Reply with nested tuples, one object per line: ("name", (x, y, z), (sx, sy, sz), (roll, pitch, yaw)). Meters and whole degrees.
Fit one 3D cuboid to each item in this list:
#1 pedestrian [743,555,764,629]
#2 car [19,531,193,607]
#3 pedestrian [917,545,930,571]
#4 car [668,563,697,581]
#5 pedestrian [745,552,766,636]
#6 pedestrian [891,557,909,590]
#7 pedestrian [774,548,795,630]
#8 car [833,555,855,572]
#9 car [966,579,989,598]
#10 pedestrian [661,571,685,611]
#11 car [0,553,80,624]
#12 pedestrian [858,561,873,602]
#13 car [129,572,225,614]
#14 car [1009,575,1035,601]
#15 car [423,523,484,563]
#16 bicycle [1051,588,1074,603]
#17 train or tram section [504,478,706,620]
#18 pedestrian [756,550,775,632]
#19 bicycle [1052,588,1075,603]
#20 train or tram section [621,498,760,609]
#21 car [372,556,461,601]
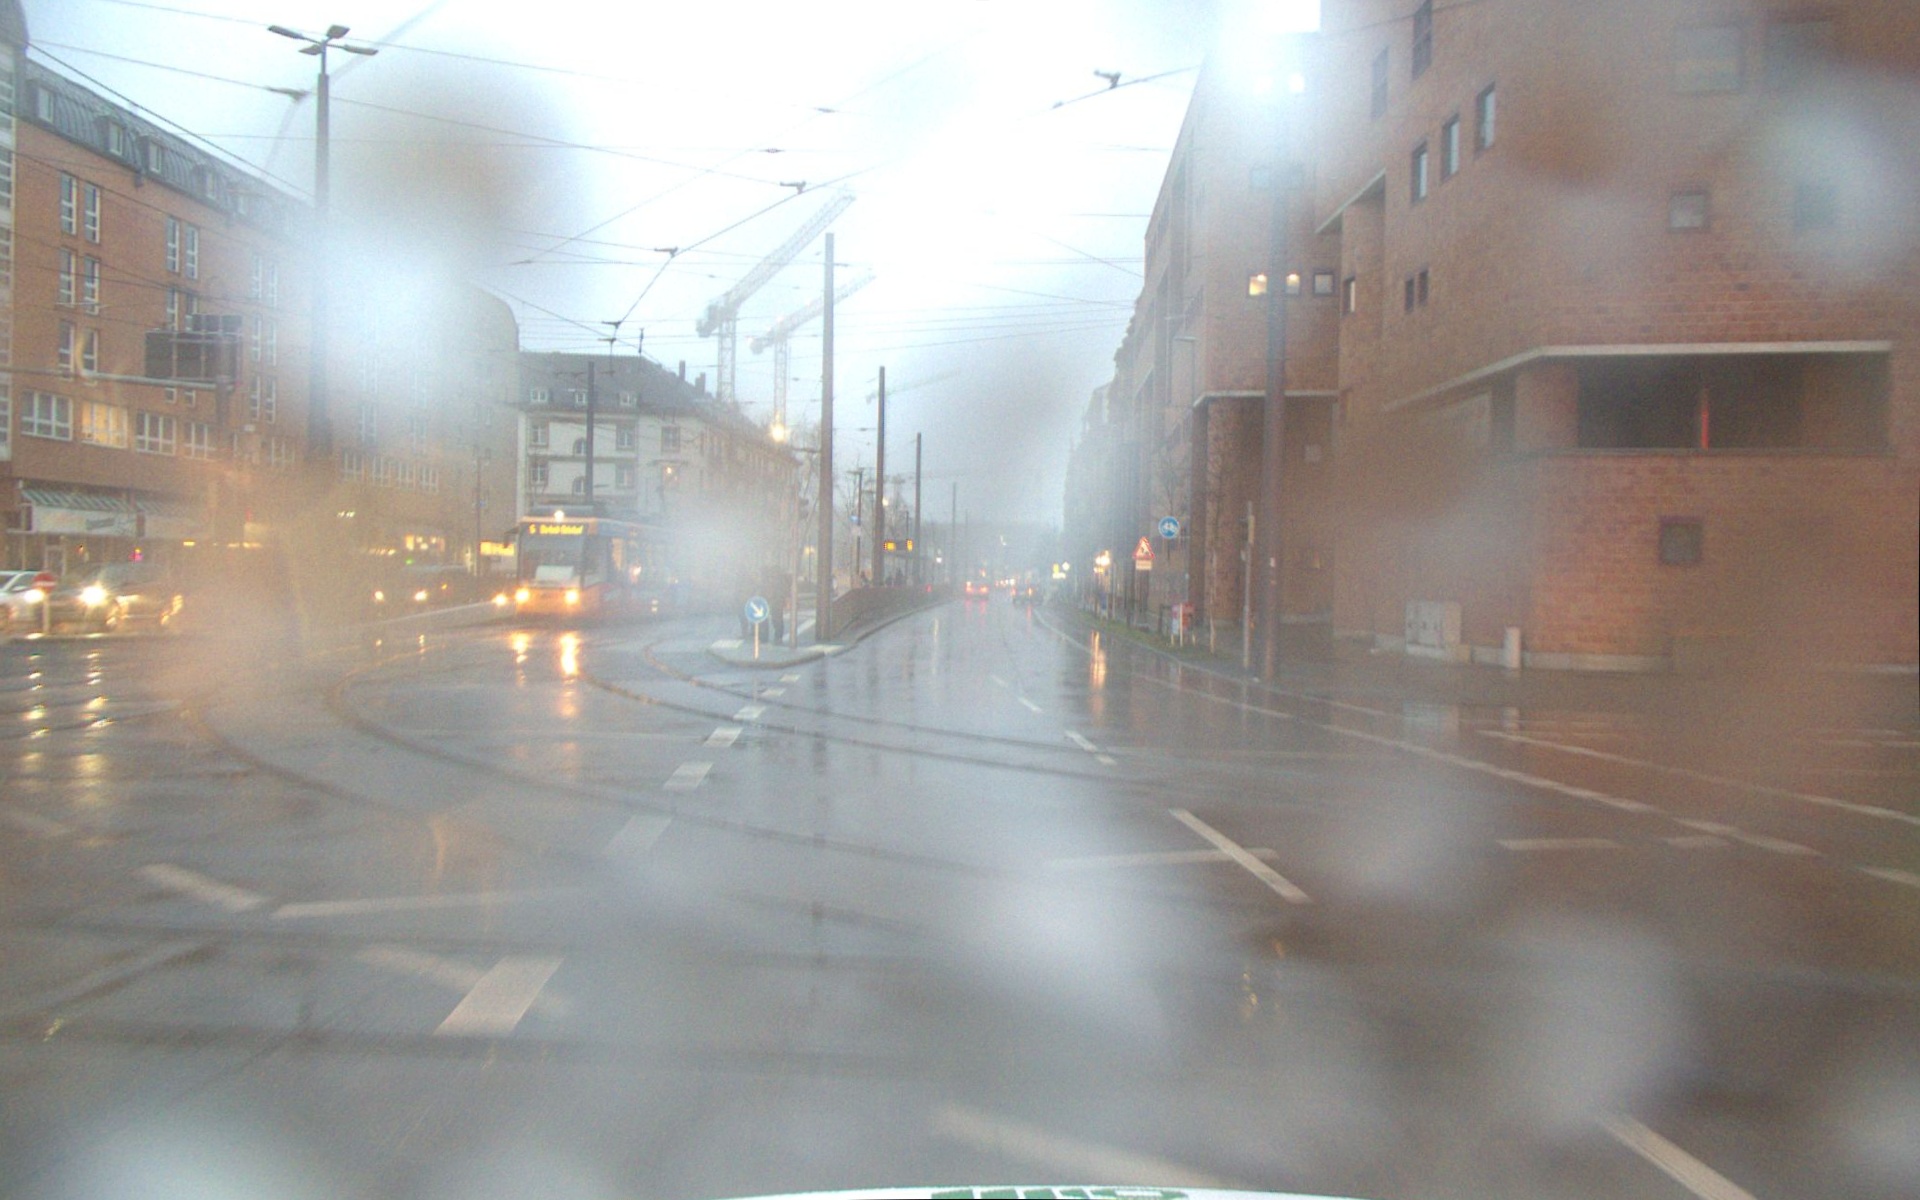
("pedestrian", (-4.936, -0.191, 39.615), (0.424, 1.765, 0.473), (1, 1, -3))
("car", (-21.241, -0.775, 41.352), (1.791, 1.739, 4.707), (1, 1, 1))
("pedestrian", (-2.196, -2.550, 100.281), (0.667, 1.542, 0.617), (2, 1, -11))
("car", (-22.230, -2.217, 132.462), (1.647, 1.377, 3.546), (2, 1, 1))
("pedestrian", (-4.955, -0.149, 40.103), (0.424, 2.001, 0.473), (1, 1, -3))
("pedestrian", (-3.205, -1.423, 87.809), (0.763, 1.733, 0.770), (2, 1, -16))
("pedestrian", (-4.030, -0.255, 38.015), (0.404, 1.877, 0.669), (1, 1, -3))
("car", (-10.645, -3.337, 151.520), (1.647, 1.377, 3.546), (2, 1, 1))
("car", (1.485, -0.941, 137.056), (1.746, 1.492, 3.150), (1, 1, 4))
("pedestrian", (-8.712, -0.280, 50.261), (0.568, 1.172, 0.490), (3, 1, 3))
("car", (-24.130, -0.321, 41.754), (1.648, 1.739, 3.857), (1, 1, 1))
("pedestrian", (-4.001, -0.775, 70.036), (0.529, 1.721, 0.643), (1, 1, -1))
("car", (-29.685, -0.290, 62.830), (1.578, 1.517, 4.229), (1, 1, 0))
("car", (4.969, -0.995, 132.745), (1.952, 2.048, 4.002), (1, 1, 4))
("car", (-27.911, -3.148, 91.321), (1.952, 2.048, 4.001), (3, 1, 2))
("bicycle", (7.678, -0.323, 123.937), (1.694, 1.073, 0.371), (0, 1, 0))
("train or tram section", (-10.386, -1.476, 50.130), (2.889, 3.651, 12.260), (3, 1, 2))
("pedestrian", (-4.405, -0.206, 37.405), (0.352, 1.818, 0.440), (1, 1, -3))
("bicycle", (7.751, -0.316, 123.322), (1.694, 1.073, 0.371), (0, 1, 0))
("train or tram section", (-9.884, -1.687, 62.056), (2.864, 3.640, 11.039), (3, 1, 2))
("car", (-17.678, -0.701, 53.956), (1.647, 1.377, 3.546), (2, 1, 1))
